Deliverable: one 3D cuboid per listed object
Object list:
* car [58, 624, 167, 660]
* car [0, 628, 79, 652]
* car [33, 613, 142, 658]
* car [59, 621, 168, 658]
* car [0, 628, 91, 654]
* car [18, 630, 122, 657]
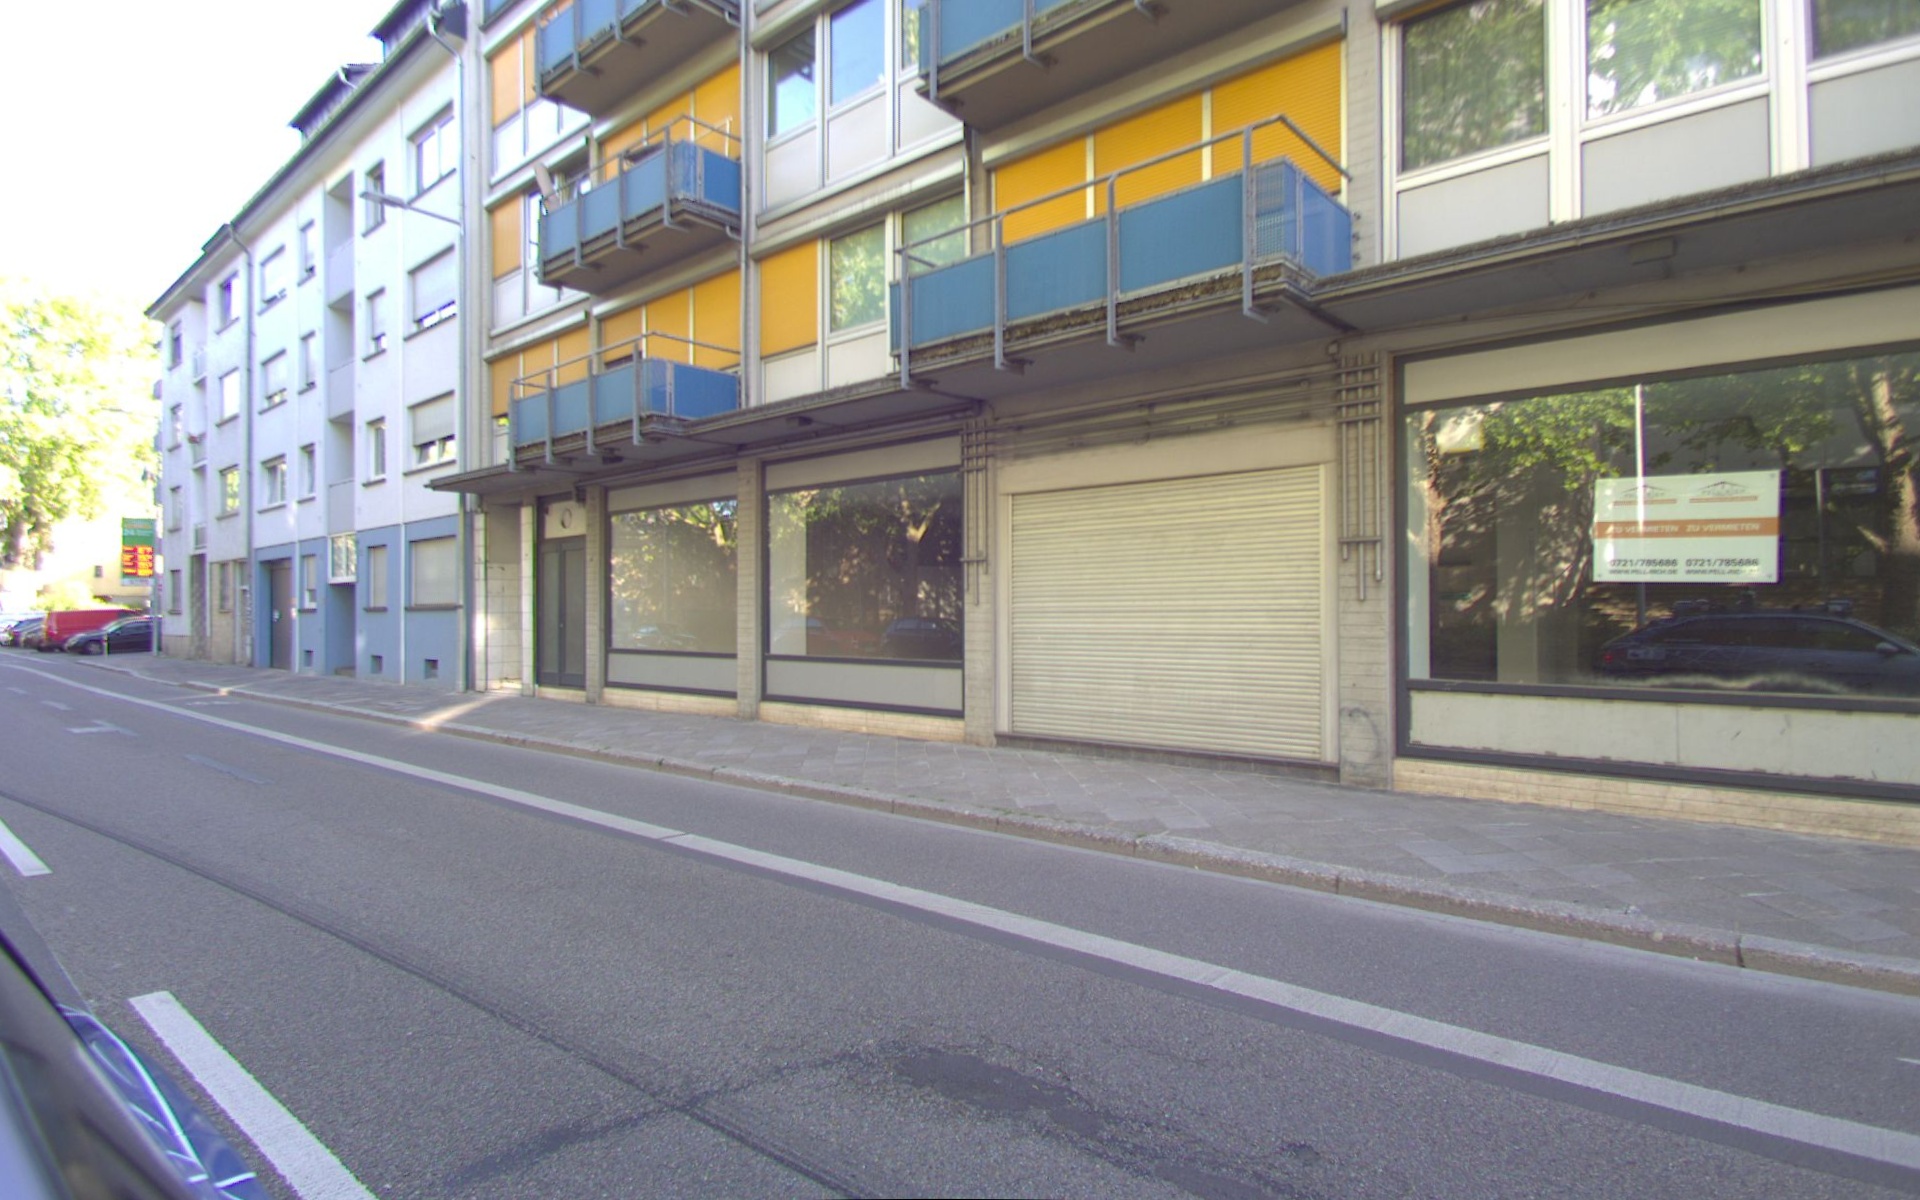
[{"bbox_3d":[-36.684,1.807,43.849,1.490,1.398,3.462,-1,0,43],"label":"car"},{"bbox_3d":[-52.268,2.246,57.510,1.345,1.254,3.228,-1,0,43],"label":"car"},{"bbox_3d":[-40.659,1.644,47.229,1.488,1.923,3.642,-4,-2,39],"label":"car"},{"bbox_3d":[-38.200,1.764,45.730,1.490,1.523,3.638,-1,0,43],"label":"car"},{"bbox_3d":[-50.453,2.238,55.881,1.345,1.254,3.638,-1,0,43],"label":"car"},{"bbox_3d":[-42.822,2.070,48.744,1.345,1.137,3.638,-1,0,43],"label":"car"}]
